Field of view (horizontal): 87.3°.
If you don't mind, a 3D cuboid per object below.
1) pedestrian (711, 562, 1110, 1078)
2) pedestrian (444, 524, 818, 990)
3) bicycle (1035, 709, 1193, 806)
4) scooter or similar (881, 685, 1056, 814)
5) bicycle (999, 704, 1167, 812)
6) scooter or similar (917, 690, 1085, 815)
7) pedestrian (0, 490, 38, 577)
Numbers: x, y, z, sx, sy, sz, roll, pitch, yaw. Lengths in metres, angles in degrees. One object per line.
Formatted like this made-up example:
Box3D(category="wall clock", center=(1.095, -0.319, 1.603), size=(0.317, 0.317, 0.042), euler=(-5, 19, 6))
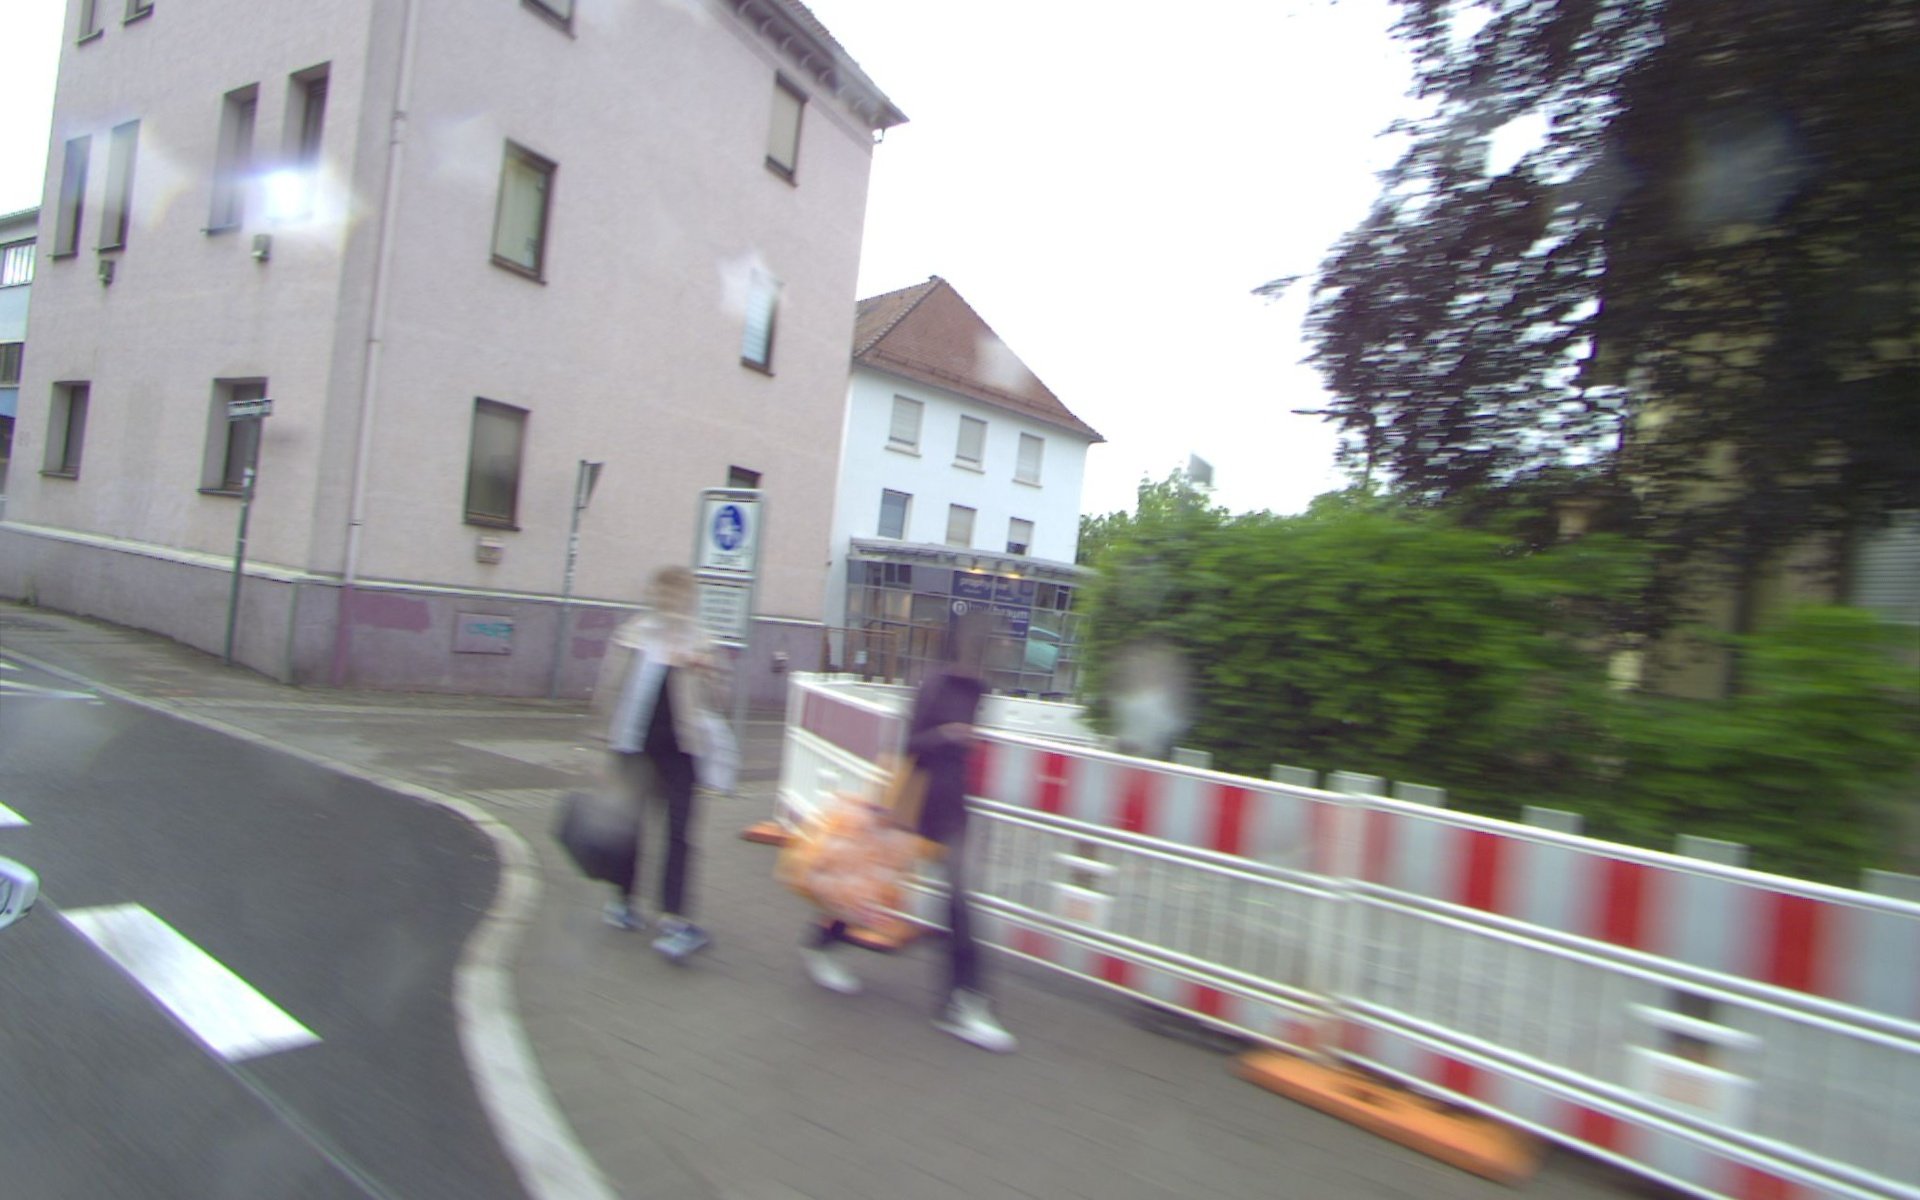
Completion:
Box3D(category="pedestrian", center=(-0.189, 0.723, 3.818), size=(1.035, 1.578, 0.874), euler=(5, -2, 42))
Box3D(category="pedestrian", center=(-1.416, 0.583, 4.320), size=(1.203, 1.660, 0.784), euler=(6, -2, 35))
Box3D(category="bicycle", center=(2.048, 2.092, 13.532), size=(1.995, 1.008, 0.427), euler=(4, -3, 31))
Box3D(category="scooter or similar", center=(0.073, 1.599, 10.938), size=(1.800, 1.090, 0.422), euler=(6, -4, 30))
Box3D(category="bicycle", center=(1.527, 1.964, 12.702), size=(1.994, 1.008, 0.427), euler=(6, -2, 31))
Box3D(category="scooter or similar", center=(0.449, 1.712, 11.471), size=(1.800, 1.111, 0.422), euler=(6, -4, 30))
Box3D(category="pedestrian", center=(-18.630, -1.307, 19.596), size=(0.613, 1.647, 0.675), euler=(5, 2, 3))
